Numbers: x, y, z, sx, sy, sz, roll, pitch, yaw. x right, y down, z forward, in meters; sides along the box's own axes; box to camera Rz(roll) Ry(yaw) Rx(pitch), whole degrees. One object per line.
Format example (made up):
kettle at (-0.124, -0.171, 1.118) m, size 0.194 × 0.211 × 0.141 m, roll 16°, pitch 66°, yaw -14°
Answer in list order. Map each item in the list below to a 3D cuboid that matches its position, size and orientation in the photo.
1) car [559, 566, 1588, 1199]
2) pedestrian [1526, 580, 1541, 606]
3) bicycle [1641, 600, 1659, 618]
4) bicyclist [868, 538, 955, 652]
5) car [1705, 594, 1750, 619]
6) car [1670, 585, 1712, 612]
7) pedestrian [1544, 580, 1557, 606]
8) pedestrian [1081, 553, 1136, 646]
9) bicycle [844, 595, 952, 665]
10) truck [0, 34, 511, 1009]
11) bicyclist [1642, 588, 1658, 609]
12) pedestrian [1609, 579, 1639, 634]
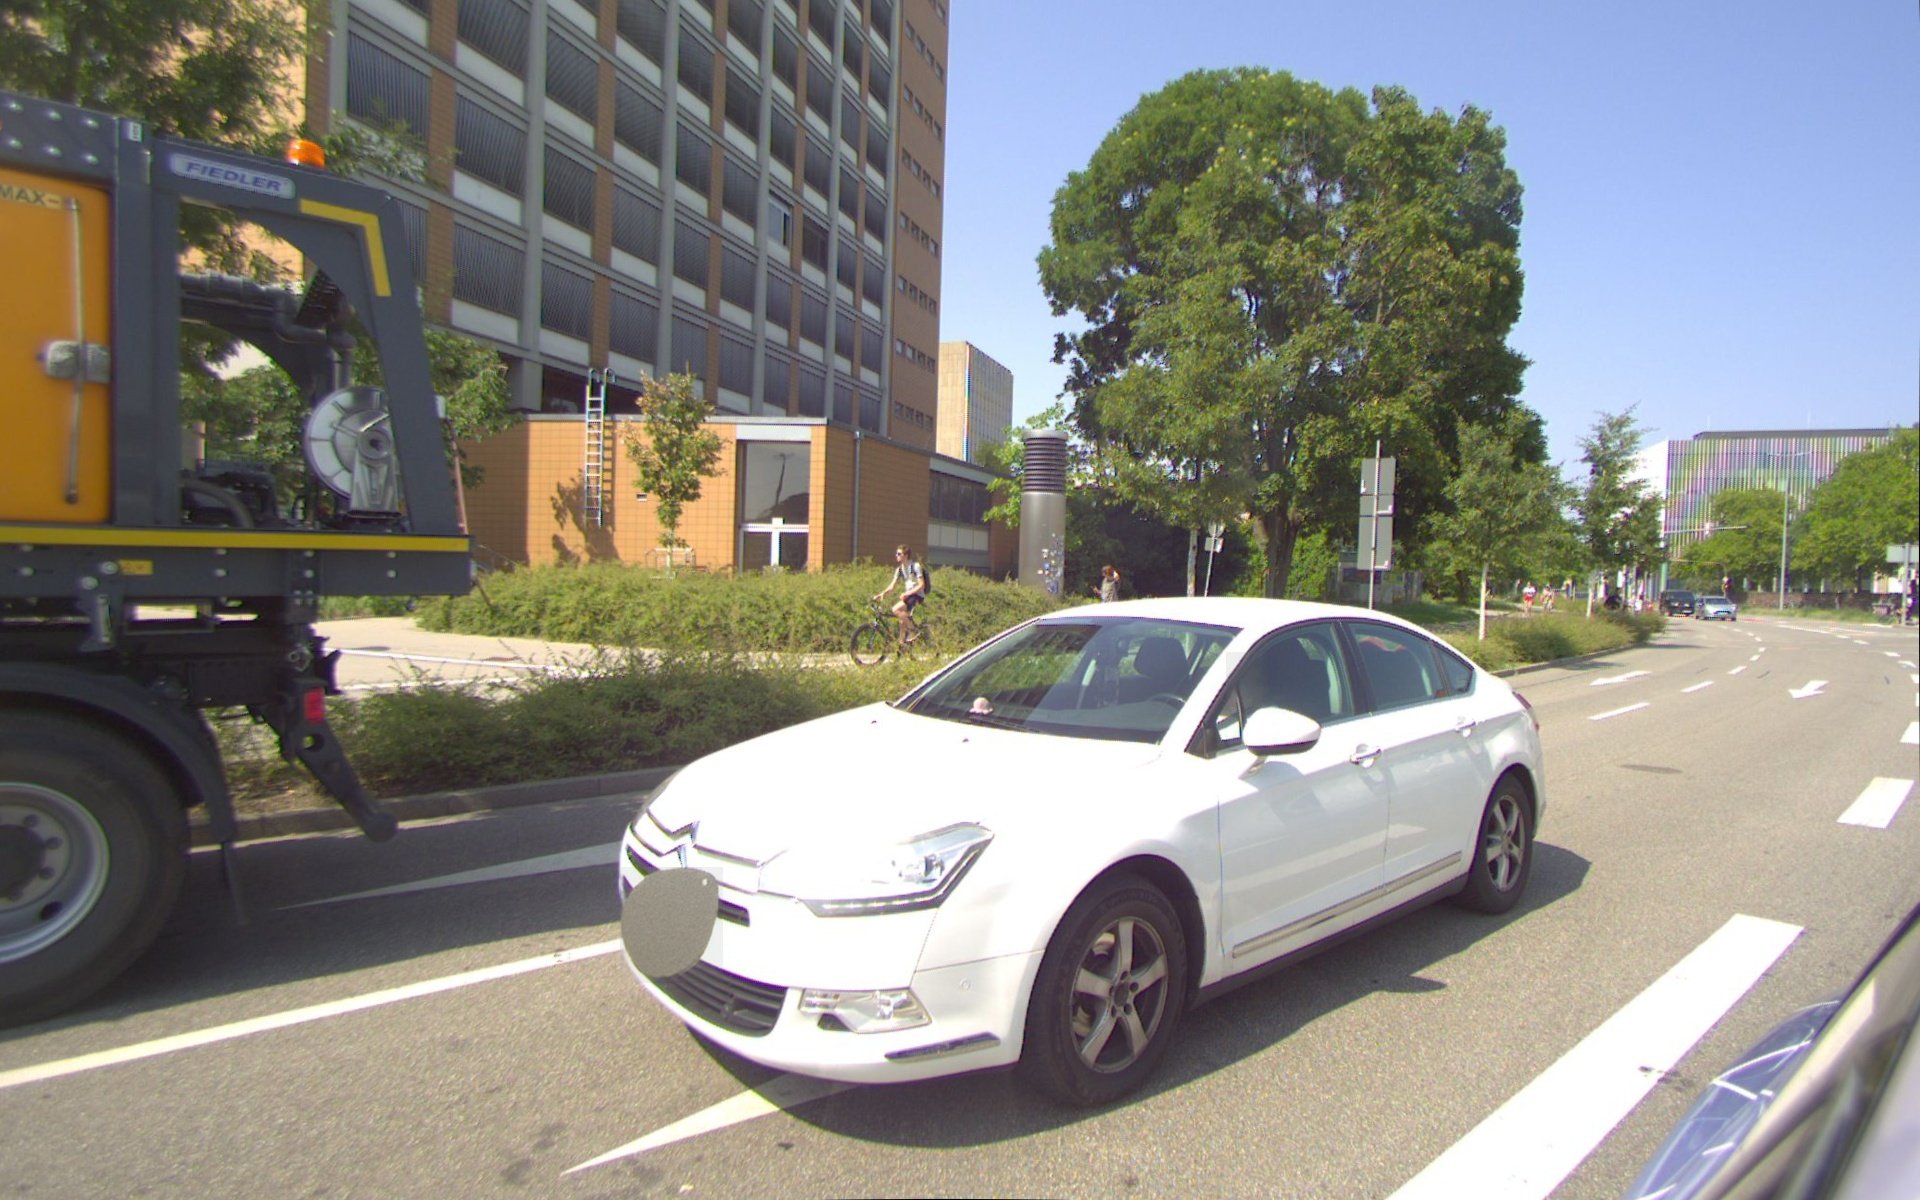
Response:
car at (0.885, 0.636, 4.354) m, size 4.528 × 1.446 × 1.773 m, roll 0°, pitch 2°, yaw -40°
pedestrian at (28.775, -0.341, 50.755) m, size 0.629 × 1.315 × 0.482 m, roll 0°, pitch 0°, yaw 31°
bicycle at (46.507, 0.574, 68.226) m, size 0.593 × 1.183 × 2.200 m, roll 2°, pitch 2°, yaw 44°
bicyclist at (-0.725, -0.089, 15.144) m, size 0.909 × 1.625 × 0.903 m, roll 0°, pitch 1°, yaw -43°
car at (49.495, 0.382, 65.330) m, size 1.645 × 1.550 × 4.488 m, roll 0°, pitch 0°, yaw 28°
car at (53.999, -0.130, 74.826) m, size 1.874 × 1.943 × 4.489 m, roll 1°, pitch 1°, yaw 28°
pedestrian at (29.444, -0.352, 50.459) m, size 0.572 × 1.315 × 0.433 m, roll 0°, pitch 0°, yaw 29°
pedestrian at (2.843, -0.021, 19.406) m, size 0.793 × 1.720 × 0.671 m, roll 0°, pitch 1°, yaw -45°
bicycle at (-0.907, 0.429, 15.197) m, size 1.751 × 0.992 × 0.357 m, roll 0°, pitch 2°, yaw -41°
truck at (-5.299, -0.263, 3.152) m, size 6.736 × 3.174 × 2.498 m, roll 0°, pitch 0°, yaw -39°
bicyclist at (46.457, -0.106, 68.137) m, size 0.677 × 1.417 × 1.033 m, roll 2°, pitch 1°, yaw 44°
pedestrian at (23.779, 0.219, 36.234) m, size 0.818 × 1.926 × 0.622 m, roll 2°, pitch 1°, yaw 37°
